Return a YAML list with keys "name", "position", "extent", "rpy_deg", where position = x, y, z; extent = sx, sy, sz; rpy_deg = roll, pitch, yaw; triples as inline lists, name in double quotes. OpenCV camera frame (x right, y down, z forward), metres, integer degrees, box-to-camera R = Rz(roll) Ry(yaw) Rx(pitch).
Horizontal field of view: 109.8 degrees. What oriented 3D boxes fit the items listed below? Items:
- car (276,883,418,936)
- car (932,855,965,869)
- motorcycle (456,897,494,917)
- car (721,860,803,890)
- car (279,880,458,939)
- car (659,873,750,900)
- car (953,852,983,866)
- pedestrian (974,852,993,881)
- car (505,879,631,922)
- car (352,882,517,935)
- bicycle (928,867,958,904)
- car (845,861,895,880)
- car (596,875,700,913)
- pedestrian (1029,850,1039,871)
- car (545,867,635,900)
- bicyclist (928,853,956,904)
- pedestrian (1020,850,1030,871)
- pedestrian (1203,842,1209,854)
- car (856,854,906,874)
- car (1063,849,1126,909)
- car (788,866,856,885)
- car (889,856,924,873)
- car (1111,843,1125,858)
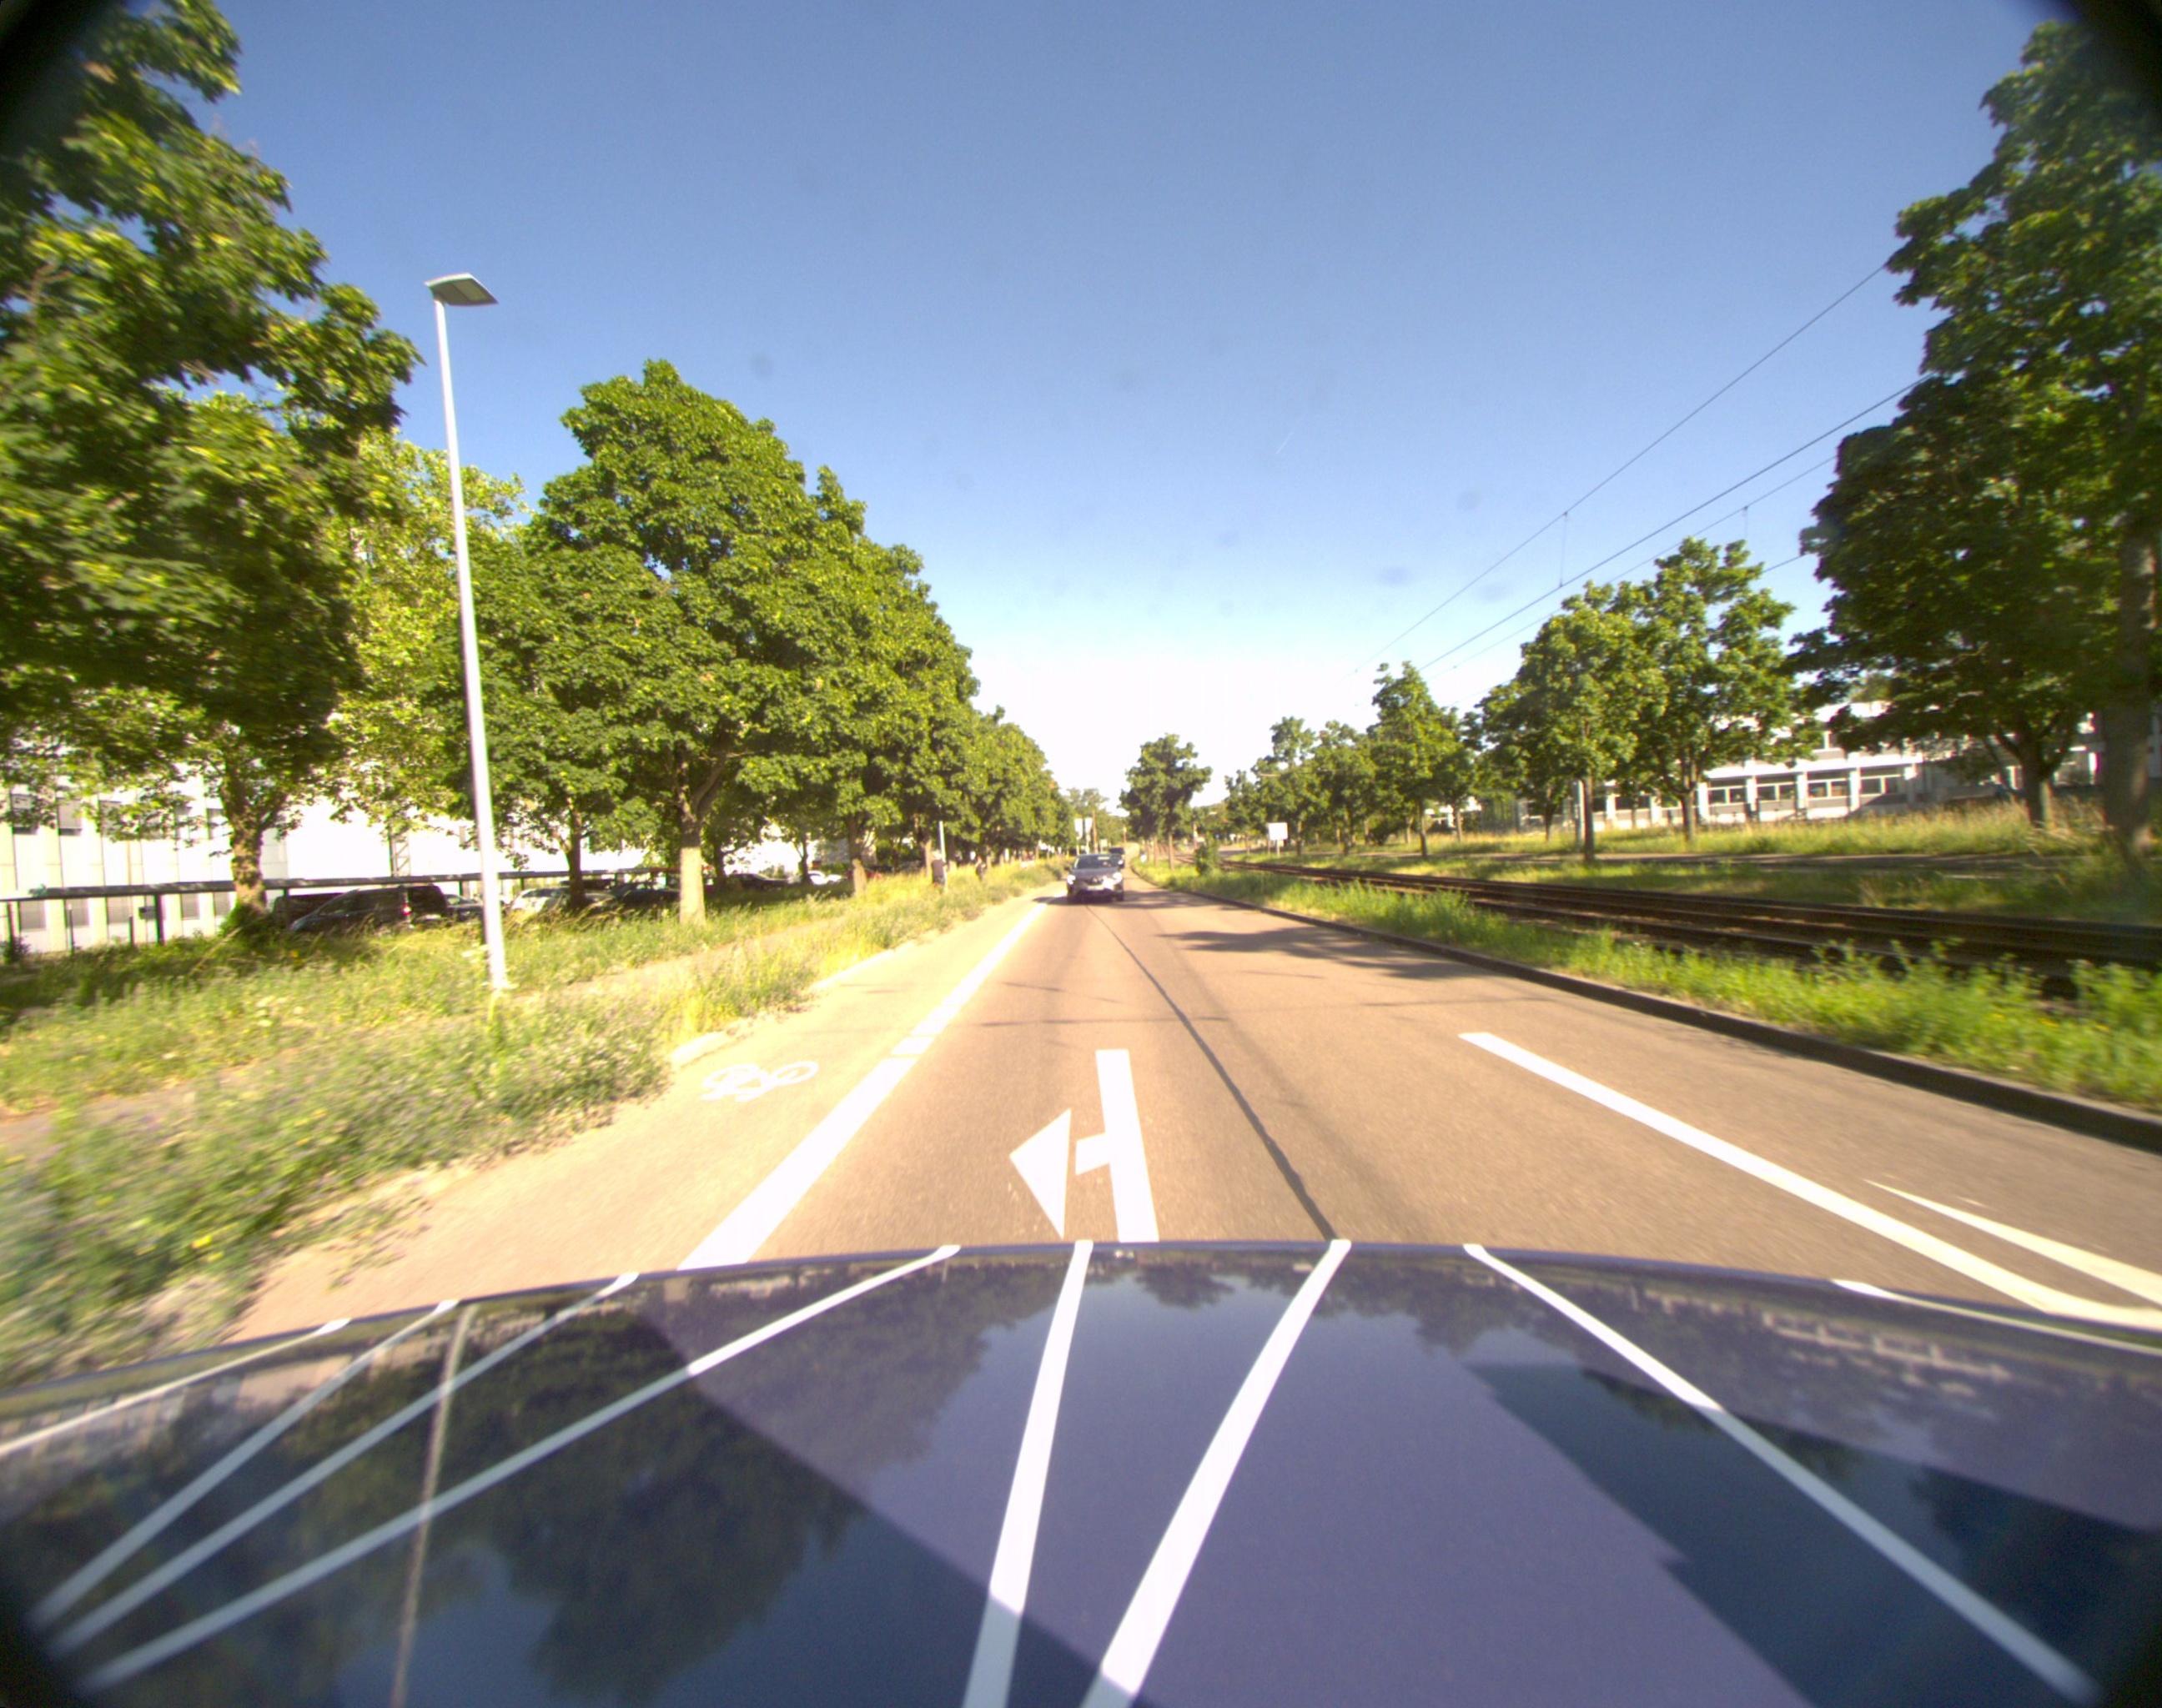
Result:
- name: "car"
  position: [-33.231, 2.485, 34.457]
  extent: [4.595, 2.002, 1.958]
  rpy_deg: [-3, 1, 4]
- name: "car"
  position: [-18.277, 1.111, 104.533]
  extent: [4.537, 1.507, 1.851]
  rpy_deg: [-4, 1, 39]
- name: "motorcycle"
  position: [-33.700, 2.961, 42.288]
  extent: [1.653, 0.965, 0.538]
  rpy_deg: [-3, 1, 2]
- name: "car"
  position: [-20.470, 1.316, 48.865]
  extent: [4.403, 1.587, 1.883]
  rpy_deg: [-3, 1, 0]
- name: "car"
  position: [-22.321, 1.725, 23.900]
  extent: [4.039, 1.496, 1.738]
  rpy_deg: [-3, 1, 3]
- name: "car"
  position: [-21.799, 1.886, 44.053]
  extent: [4.301, 1.316, 1.941]
  rpy_deg: [-3, 0, 7]
- name: "car"
  position: [-17.757, 0.763, 119.162]
  extent: [2.083, 1.865, 5.173]
  rpy_deg: [-5, 1, -41]
- name: "pedestrian"
  position: [-5.469, 0.680, 42.816]
  extent: [0.826, 1.560, 0.762]
  rpy_deg: [-4, 1, 4]
- name: "car"
  position: [-21.851, 1.974, 32.467]
  extent: [4.174, 1.423, 1.825]
  rpy_deg: [-4, 1, 6]
- name: "car"
  position: [-22.146, 1.865, 26.093]
  extent: [4.365, 1.450, 1.689]
  rpy_deg: [-3, 1, 6]
- name: "bicycle"
  position: [-4.909, 1.097, 27.068]
  extent: [0.484, 1.197, 2.144]
  rpy_deg: [-4, 1, 3]
- name: "car"
  position: [-19.799, 1.540, 71.563]
  extent: [4.243, 1.527, 1.765]
  rpy_deg: [-3, 1, -6]
- name: "car"
  position: [-21.235, 1.949, 37.367]
  extent: [4.004, 1.516, 1.706]
  rpy_deg: [-3, 1, 0]
- name: "pedestrian"
  position: [-4.411, 0.585, 71.835]
  extent: [0.709, 1.907, 0.817]
  rpy_deg: [-4, 1, 4]
- name: "car"
  position: [-33.495, 2.003, 51.897]
  extent: [4.760, 1.938, 1.974]
  rpy_deg: [-3, 0, 2]
- name: "bicyclist"
  position: [-4.938, 0.860, 26.967]
  extent: [0.684, 1.710, 0.902]
  rpy_deg: [-3, 2, 3]
- name: "pedestrian"
  position: [-5.276, 0.626, 71.816]
  extent: [0.709, 1.919, 0.817]
  rpy_deg: [-4, 1, 4]
- name: "pedestrian"
  position: [19.845, -0.932, 120.663]
  extent: [0.785, 1.741, 0.781]
  rpy_deg: [-4, 1, 3]
- name: "car"
  position: [-19.528, 0.986, 74.328]
  extent: [4.348, 1.690, 1.765]
  rpy_deg: [-3, 1, -6]
- name: "car"
  position: [0.493, 0.714, 24.340]
  extent: [1.750, 1.585, 4.246]
  rpy_deg: [-4, 1, 3]
- name: "car"
  position: [-20.528, 1.694, 60.330]
  extent: [4.709, 1.263, 1.808]
  rpy_deg: [-3, 0, 0]
- name: "car"
  position: [-19.282, 1.209, 83.757]
  extent: [3.977, 1.629, 1.726]
  rpy_deg: [-3, 1, 43]
- name: "car"
  position: [4.603, -0.487, 94.175]
  extent: [1.555, 1.765, 3.457]
  rpy_deg: [-3, 1, 3]
